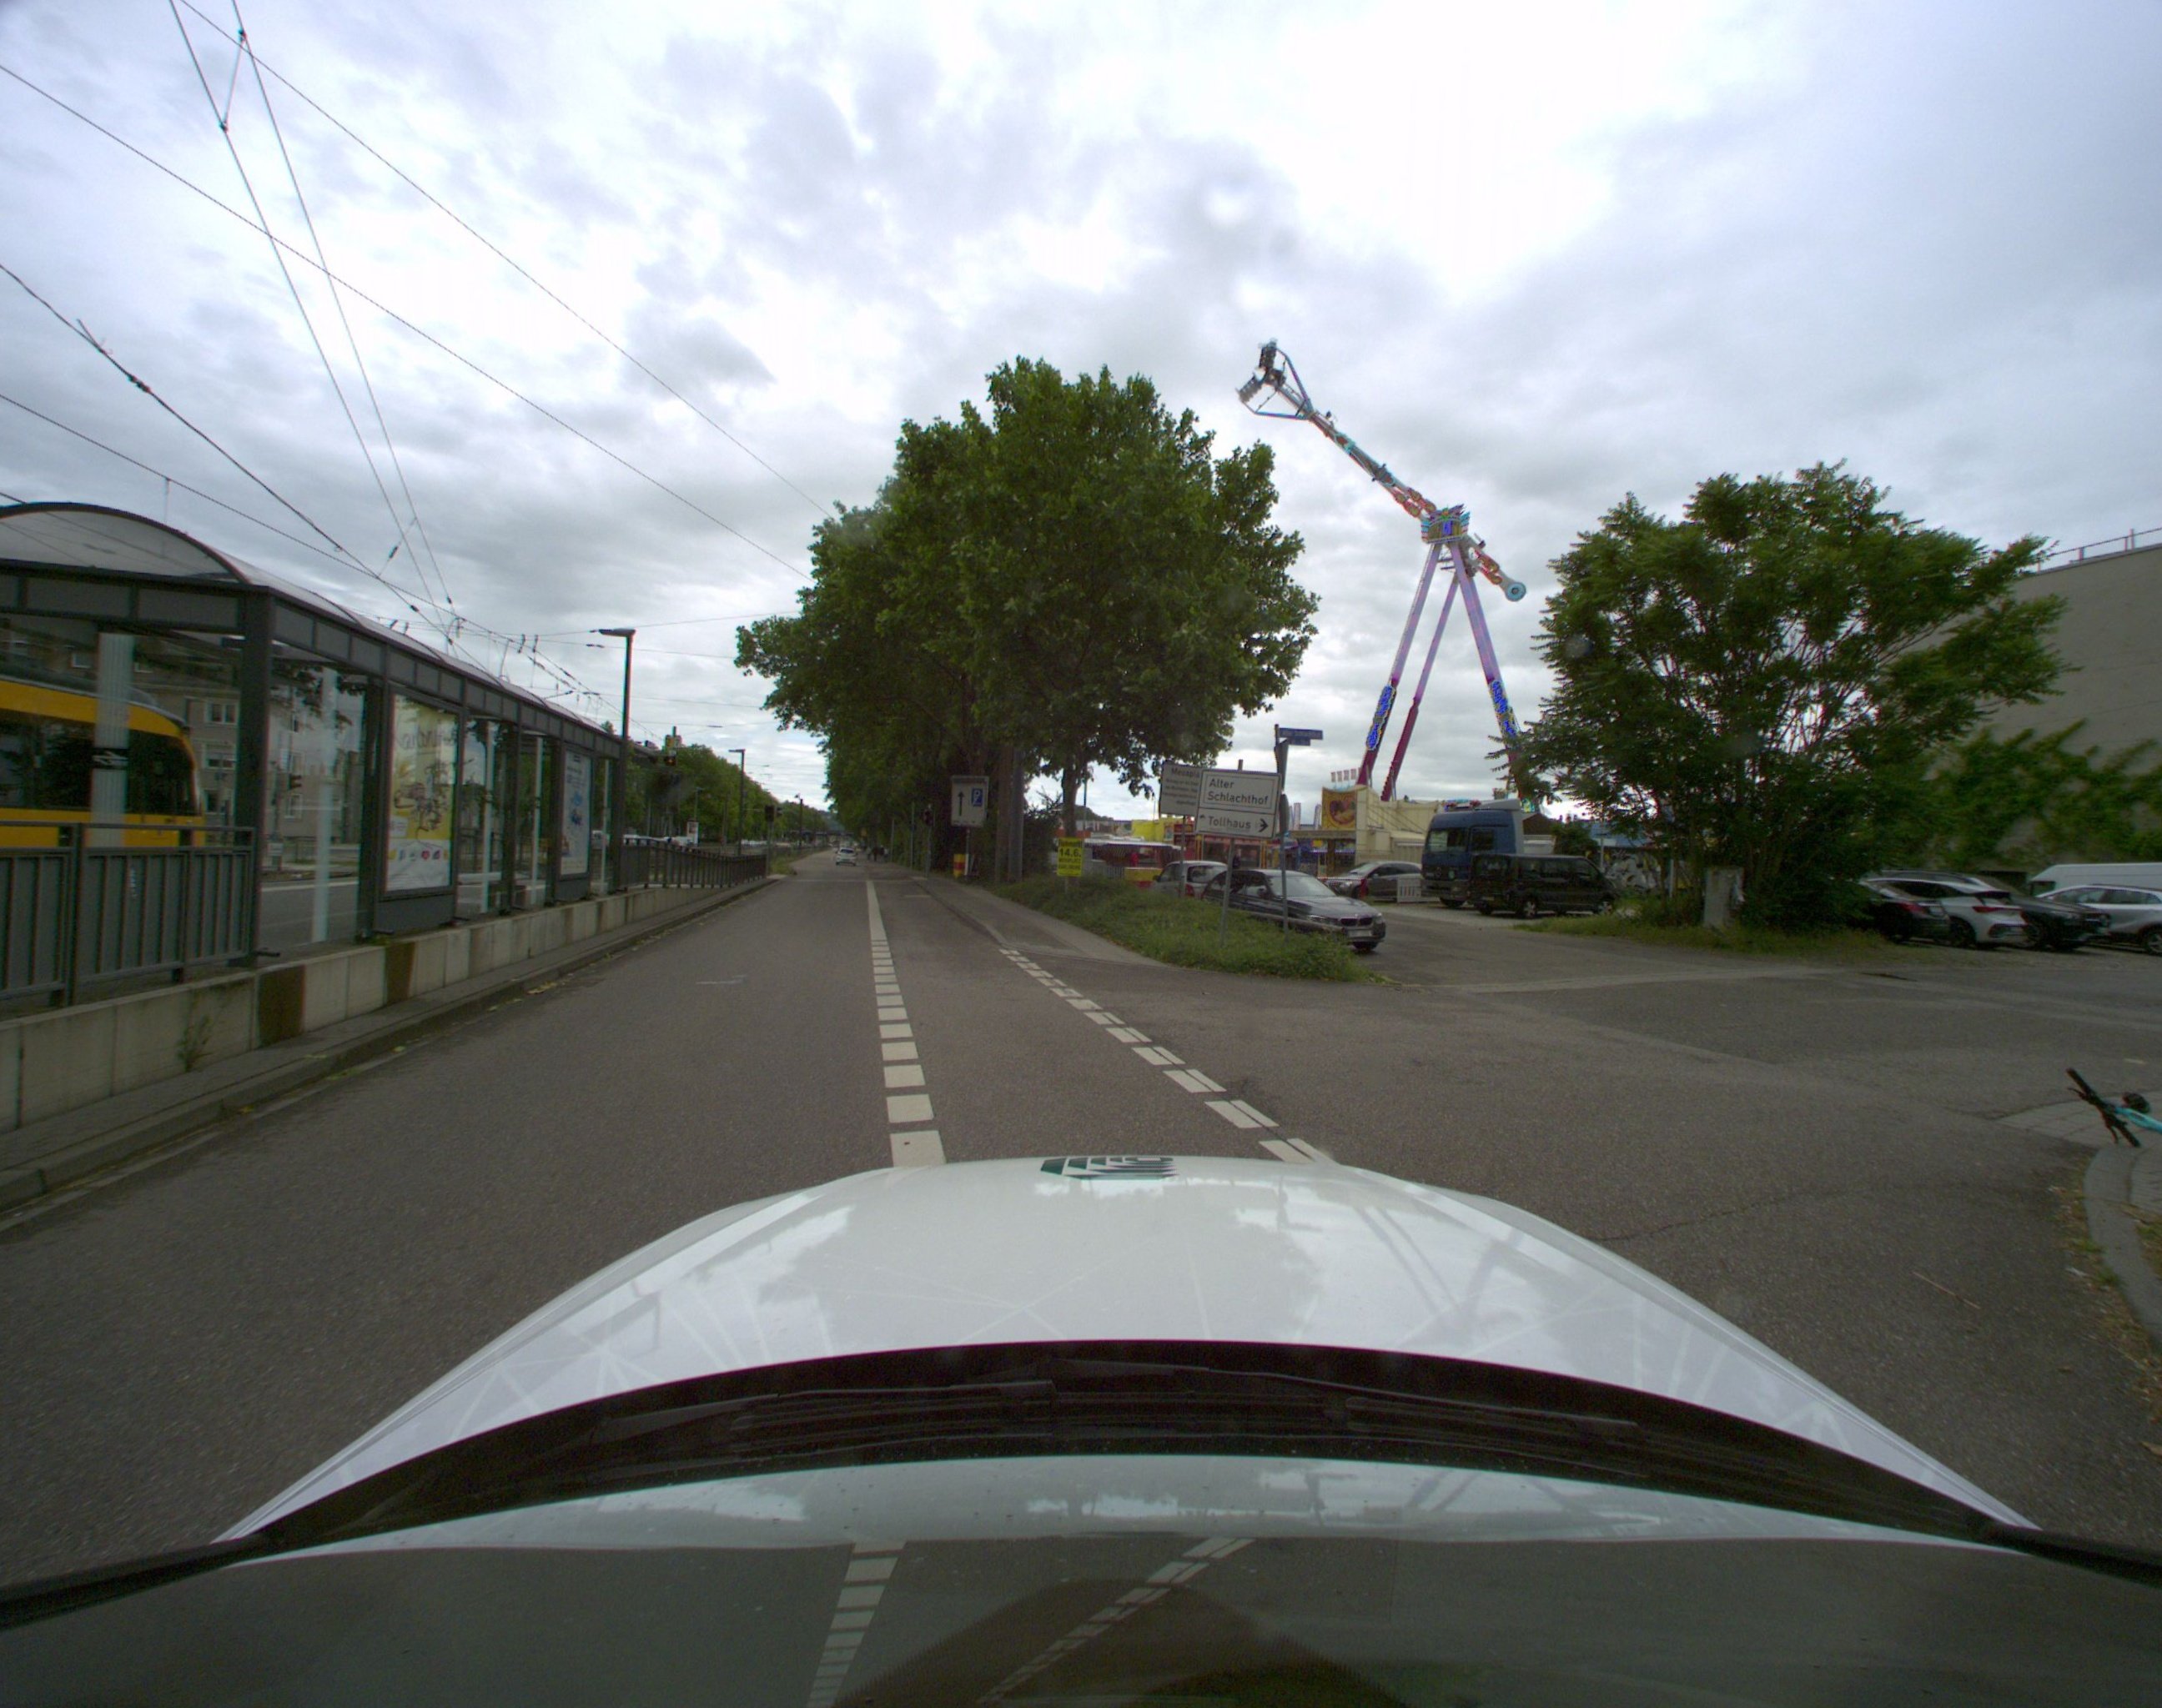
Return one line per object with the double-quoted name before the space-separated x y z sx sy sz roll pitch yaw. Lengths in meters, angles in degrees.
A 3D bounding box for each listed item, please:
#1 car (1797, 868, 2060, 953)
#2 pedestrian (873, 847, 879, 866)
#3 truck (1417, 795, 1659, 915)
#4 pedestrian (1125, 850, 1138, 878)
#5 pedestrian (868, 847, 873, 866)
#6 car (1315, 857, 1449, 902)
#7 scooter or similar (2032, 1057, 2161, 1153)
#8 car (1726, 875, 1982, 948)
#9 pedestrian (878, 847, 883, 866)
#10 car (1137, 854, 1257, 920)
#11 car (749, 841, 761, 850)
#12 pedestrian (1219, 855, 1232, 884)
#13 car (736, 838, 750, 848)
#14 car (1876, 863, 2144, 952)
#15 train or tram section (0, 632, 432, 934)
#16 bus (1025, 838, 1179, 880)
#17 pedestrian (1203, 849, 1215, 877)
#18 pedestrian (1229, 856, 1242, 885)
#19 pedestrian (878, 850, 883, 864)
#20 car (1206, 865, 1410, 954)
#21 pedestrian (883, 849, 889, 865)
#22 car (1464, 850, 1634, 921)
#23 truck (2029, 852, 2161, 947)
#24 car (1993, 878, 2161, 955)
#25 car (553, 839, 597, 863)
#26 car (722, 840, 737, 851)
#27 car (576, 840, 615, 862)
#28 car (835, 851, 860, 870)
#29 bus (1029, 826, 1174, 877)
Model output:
"car" 20.354 1.296 19.804 1.890 1.644 3.977 3 1 -18
"pedestrian" -21.669 0.280 86.027 0.394 2.014 0.402 2 -1 0
"truck" 16.293 0.116 29.039 8.210 3.822 2.585 2 -1 -18
"pedestrian" 2.713 0.531 43.755 0.494 1.463 0.520 2 -1 -18
"pedestrian" -22.229 0.288 85.928 0.394 2.014 0.402 2 -1 0
"car" 11.628 0.987 31.508 4.584 1.575 1.988 2 -1 -17
"scooter or similar" 6.546 1.476 4.455 1.170 0.349 1.334 0 0 9
"car" 18.122 1.292 19.351 1.890 1.349 3.976 4 -1 -18
"pedestrian" -21.183 0.296 86.066 0.394 2.014 0.402 2 -1 0
"car" 3.019 0.830 22.062 1.865 1.594 3.982 2 0 -13
"car" -66.855 -1.662 166.860 2.000 1.794 3.974 2 -1 -19
"pedestrian" 8.427 0.900 47.448 0.525 1.687 0.489 2 -1 -32
"car" -62.177 -1.976 149.878 2.000 1.794 3.974 2 -1 -19
"car" 22.933 1.244 20.328 1.890 1.879 3.977 2 0 -17
"train or tram section" -17.658 -1.032 15.019 3.186 4.179 14.657 2 0 -15
"bus" 1.350 0.338 49.839 9.303 2.227 1.988 2 -1 -19
"pedestrian" 7.833 0.560 49.905 0.494 1.687 0.520 2 -1 -18
"pedestrian" 9.069 0.950 47.928 0.525 1.687 0.489 2 -1 -32
"pedestrian" -19.839 0.297 80.638 0.397 1.444 0.559 2 -1 -21
"car" 4.247 0.988 15.922 1.869 1.430 3.973 2 -1 -20
"pedestrian" -19.306 0.314 80.710 0.397 1.585 0.534 2 -1 -23
"car" 14.515 0.939 25.323 4.585 2.013 1.989 1 1 -18
"truck" 33.126 1.425 24.394 2.050 2.727 5.833 2 1 -12
"car" 26.340 1.577 20.543 1.890 1.644 3.977 3 1 -18
"car" -39.834 -0.228 64.202 2.000 1.794 3.974 2 -1 -19
"car" -62.382 -1.450 144.628 2.000 1.794 3.974 2 -1 -19
"car" -41.510 -0.238 69.698 2.000 1.794 3.974 2 -1 -19
"car" -20.083 0.548 70.123 1.843 1.552 3.981 1 0 -14
"bus" 1.368 -0.102 53.090 9.303 2.960 1.988 2 -1 -19
